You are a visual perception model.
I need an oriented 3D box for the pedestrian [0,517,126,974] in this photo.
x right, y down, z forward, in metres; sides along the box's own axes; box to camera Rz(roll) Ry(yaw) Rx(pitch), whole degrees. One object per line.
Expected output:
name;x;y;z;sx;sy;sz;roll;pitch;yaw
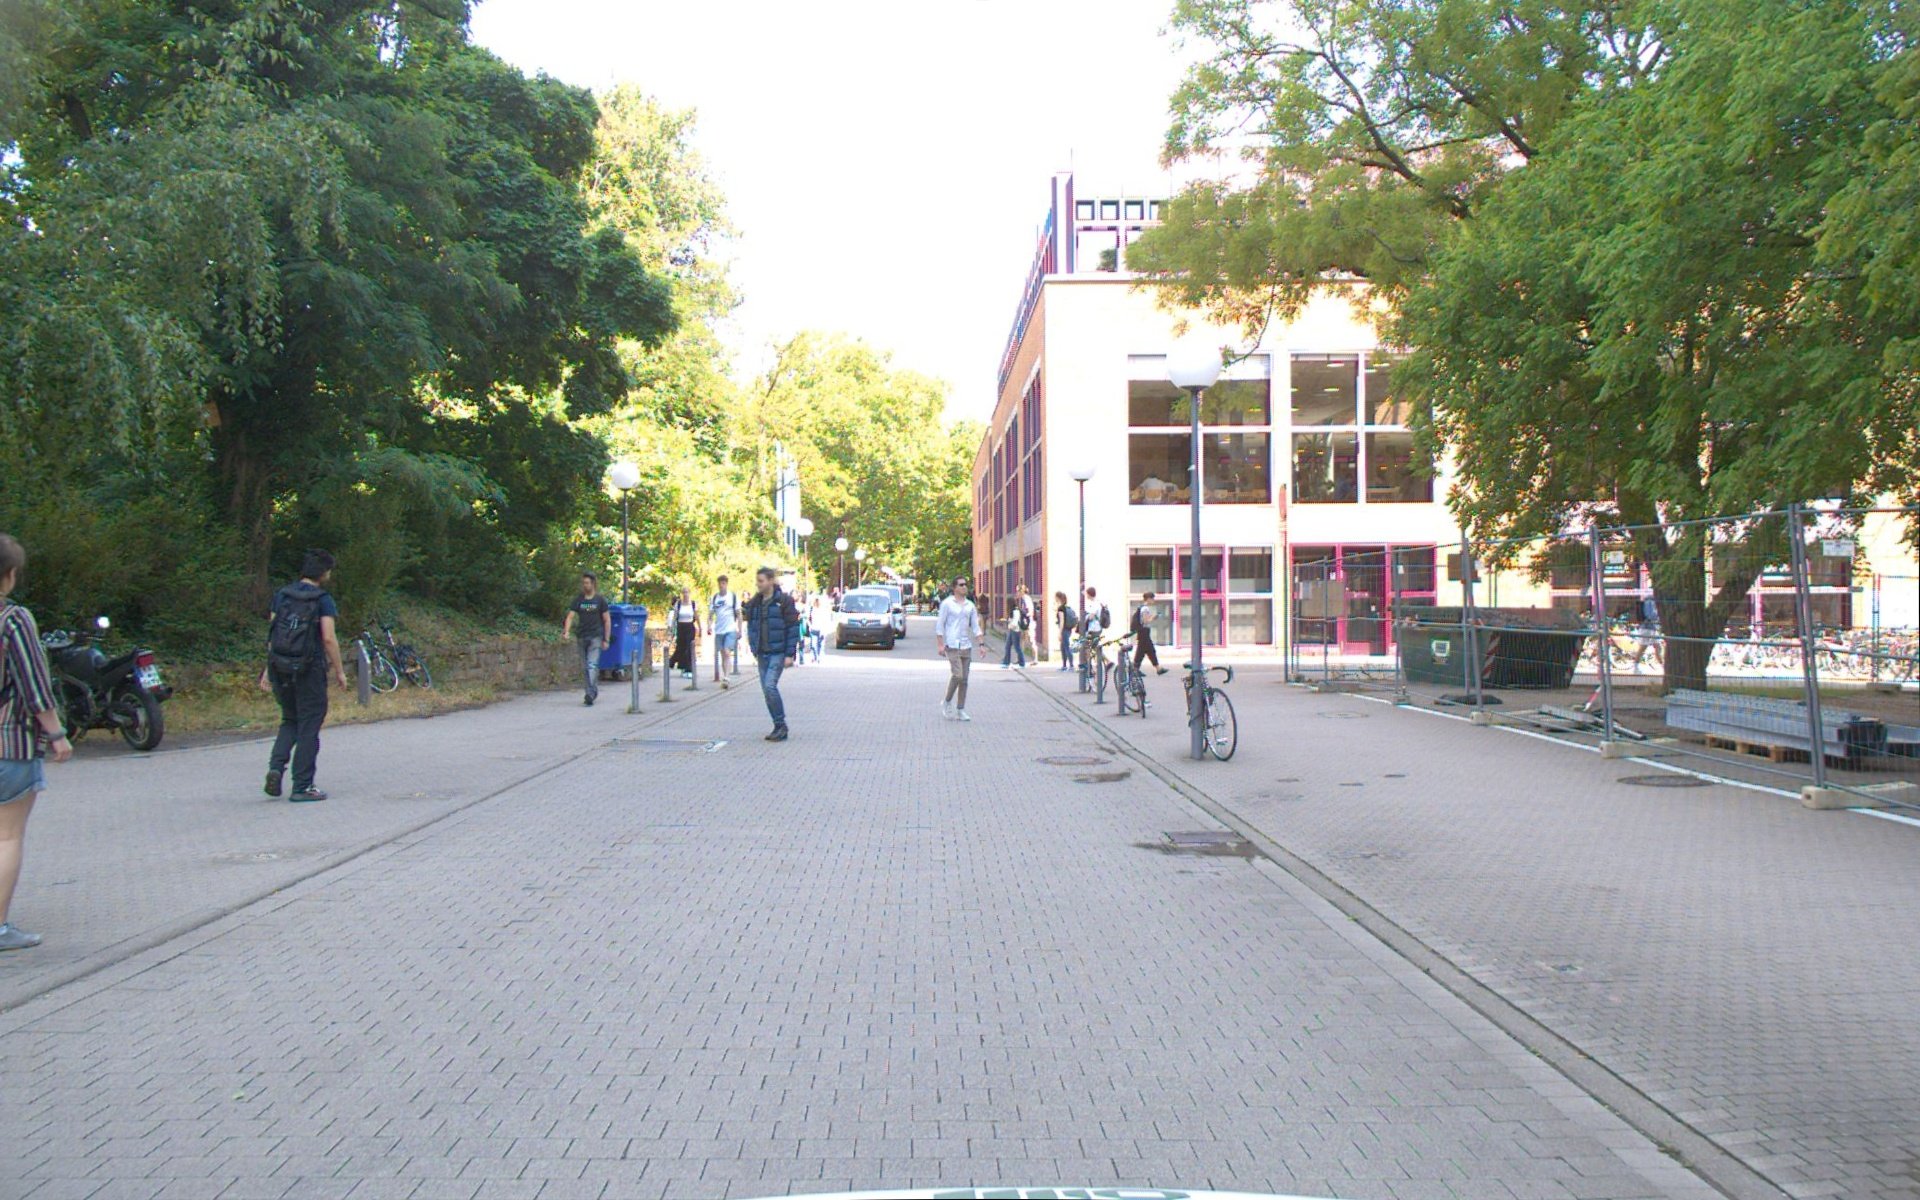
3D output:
pedestrian;-3.917;0.555;6.716;0.670;1.754;0.731;1;0;-3

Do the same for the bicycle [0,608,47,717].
bicycle;-9.819;0.611;16.108;0.463;1.065;1.700;2;-1;20

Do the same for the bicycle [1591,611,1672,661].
bicycle;15.948;0.856;39.265;1.772;1.129;0.473;1;0;-7

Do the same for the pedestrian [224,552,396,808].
pedestrian;-4.674;0.550;11.926;0.671;1.754;0.903;1;0;28

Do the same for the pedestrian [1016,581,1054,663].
pedestrian;1.735;0.514;38.392;0.809;1.876;0.684;1;-1;-4

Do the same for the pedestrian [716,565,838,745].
pedestrian;-1.996;0.581;18.126;0.868;1.890;1.031;1;0;28

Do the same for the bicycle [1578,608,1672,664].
bicycle;14.217;0.767;35.379;1.771;1.129;0.524;1;0;2

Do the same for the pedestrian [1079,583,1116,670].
pedestrian;2.917;0.561;35.064;0.750;1.826;0.588;-1;-1;6

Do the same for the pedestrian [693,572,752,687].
pedestrian;-4.044;0.507;28.211;0.708;1.914;1.083;1;-1;7

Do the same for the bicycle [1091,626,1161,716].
bicycle;2.173;0.920;21.883;0.694;1.112;1.748;0;0;-2

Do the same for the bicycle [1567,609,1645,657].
bicycle;15.838;0.805;40.570;1.772;1.129;0.473;1;0;-7

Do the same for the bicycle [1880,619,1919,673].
bicycle;21.821;1.055;37.242;1.956;1.189;0.474;2;0;-3

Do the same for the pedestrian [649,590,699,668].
pedestrian;-6.135;0.612;35.484;0.897;1.639;0.570;0;-1;28

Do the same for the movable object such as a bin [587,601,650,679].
movable object such as a bin;-6.260;0.725;30.347;0.694;1.359;1.240;3;0;9

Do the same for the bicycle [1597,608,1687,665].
bicycle;14.117;0.748;34.253;1.659;1.129;0.474;1;0;2

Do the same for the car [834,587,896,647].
car;-2.908;0.495;51.355;1.754;1.792;4.480;0;0;-1

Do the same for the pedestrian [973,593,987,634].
pedestrian;0.826;0.566;68.683;0.574;1.702;0.699;-1;-1;0

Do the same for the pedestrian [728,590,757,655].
pedestrian;-5.556;0.580;42.293;0.669;1.649;0.977;1;-1;-6

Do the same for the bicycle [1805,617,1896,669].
bicycle;21.622;1.031;40.166;1.956;1.189;0.474;2;0;-3

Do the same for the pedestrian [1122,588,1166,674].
pedestrian;3.632;0.606;32.678;0.834;1.680;0.588;1;-1;6

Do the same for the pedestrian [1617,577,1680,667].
pedestrian;13.474;0.437;32.384;0.884;1.759;0.684;0;-3;-6

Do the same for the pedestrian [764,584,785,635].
pedestrian;-6.769;0.353;60.507;0.668;1.876;0.783;1;-1;-1

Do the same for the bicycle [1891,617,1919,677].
bicycle;20.074;0.980;33.827;1.768;1.189;0.474;2;0;2

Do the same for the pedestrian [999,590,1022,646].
pedestrian;1.608;0.570;52.387;0.668;1.778;0.783;1;-1;-1

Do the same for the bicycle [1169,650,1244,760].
bicycle;2.374;0.992;16.083;0.387;0.952;1.731;-2;0;-2

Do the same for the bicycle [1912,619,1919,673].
bicycle;21.923;1.032;36.145;1.956;1.189;0.474;2;0;-3

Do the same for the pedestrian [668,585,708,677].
pedestrian;-5.267;0.591;32.084;0.669;1.758;1.001;1;-1;-5

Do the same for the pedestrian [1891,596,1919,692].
pedestrian;17.928;0.827;30.687;0.884;1.759;0.684;0;-3;-6

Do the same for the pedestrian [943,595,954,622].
pedestrian;-0.740;0.570;106.862;0.710;1.702;0.748;-1;-1;0

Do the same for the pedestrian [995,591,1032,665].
pedestrian;1.223;0.633;37.607;0.765;1.649;0.684;1;-1;-4

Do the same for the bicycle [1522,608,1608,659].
bicycle;13.838;0.768;37.855;1.774;1.129;0.523;1;0;-4

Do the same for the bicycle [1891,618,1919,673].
bicycle;21.748;1.023;36.667;1.956;1.189;0.474;2;0;-3

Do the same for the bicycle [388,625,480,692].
bicycle;-7.616;0.847;24.019;0.412;0.926;1.741;0;-2;13

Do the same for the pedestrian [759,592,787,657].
pedestrian;-4.813;0.625;42.603;0.669;1.649;0.912;1;-1;-6

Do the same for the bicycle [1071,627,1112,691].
bicycle;2.162;0.963;27.394;0.441;0.978;1.739;-2;0;-2

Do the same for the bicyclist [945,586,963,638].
bicyclist;-0.209;0.413;56.724;0.575;1.746;0.665;0;0;-5

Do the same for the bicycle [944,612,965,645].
bicycle;-0.195;0.969;56.533;0.575;1.102;1.906;0;0;-5

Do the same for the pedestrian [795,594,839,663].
pedestrian;-3.317;0.653;38.394;0.867;1.569;0.743;1;-1;6

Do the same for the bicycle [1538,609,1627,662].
bicycle;13.887;0.794;36.916;1.772;1.129;0.524;1;0;2

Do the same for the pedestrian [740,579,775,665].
pedestrian;-4.514;0.496;36.817;0.668;1.876;0.783;1;-1;-1

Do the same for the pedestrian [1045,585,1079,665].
pedestrian;2.219;0.537;35.848;0.682;1.702;0.588;-1;-1;6

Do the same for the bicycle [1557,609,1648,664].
bicycle;13.997;0.793;36.034;1.773;1.129;0.523;1;0;-2

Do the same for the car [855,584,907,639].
car;-2.973;0.405;62.904;1.845;2.008;5.213;0;0;-1

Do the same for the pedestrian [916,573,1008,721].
pedestrian;0.015;0.603;21.707;0.773;1.877;1.109;1;0;-26

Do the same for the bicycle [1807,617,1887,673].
bicycle;19.760;1.012;36.849;1.778;1.189;0.472;2;0;-18

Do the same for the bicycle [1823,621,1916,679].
bicycle;19.644;1.075;35.726;1.770;1.189;0.474;2;0;-3

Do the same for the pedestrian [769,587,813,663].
pedestrian;-3.819;0.557;37.424;0.867;1.702;0.559;1;-1;6

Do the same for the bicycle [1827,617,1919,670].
bicycle;21.636;1.021;39.195;1.956;1.189;0.474;2;0;-3

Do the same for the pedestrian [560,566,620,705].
pedestrian;-5.237;0.499;23.437;0.669;1.905;1.119;1;-1;-6

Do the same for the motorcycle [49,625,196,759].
motorcycle;-7.612;0.799;14.993;1.990;1.065;0.471;2;1;42

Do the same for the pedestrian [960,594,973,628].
pedestrian;0.324;0.544;82.797;0.574;1.702;0.817;-1;-1;0
